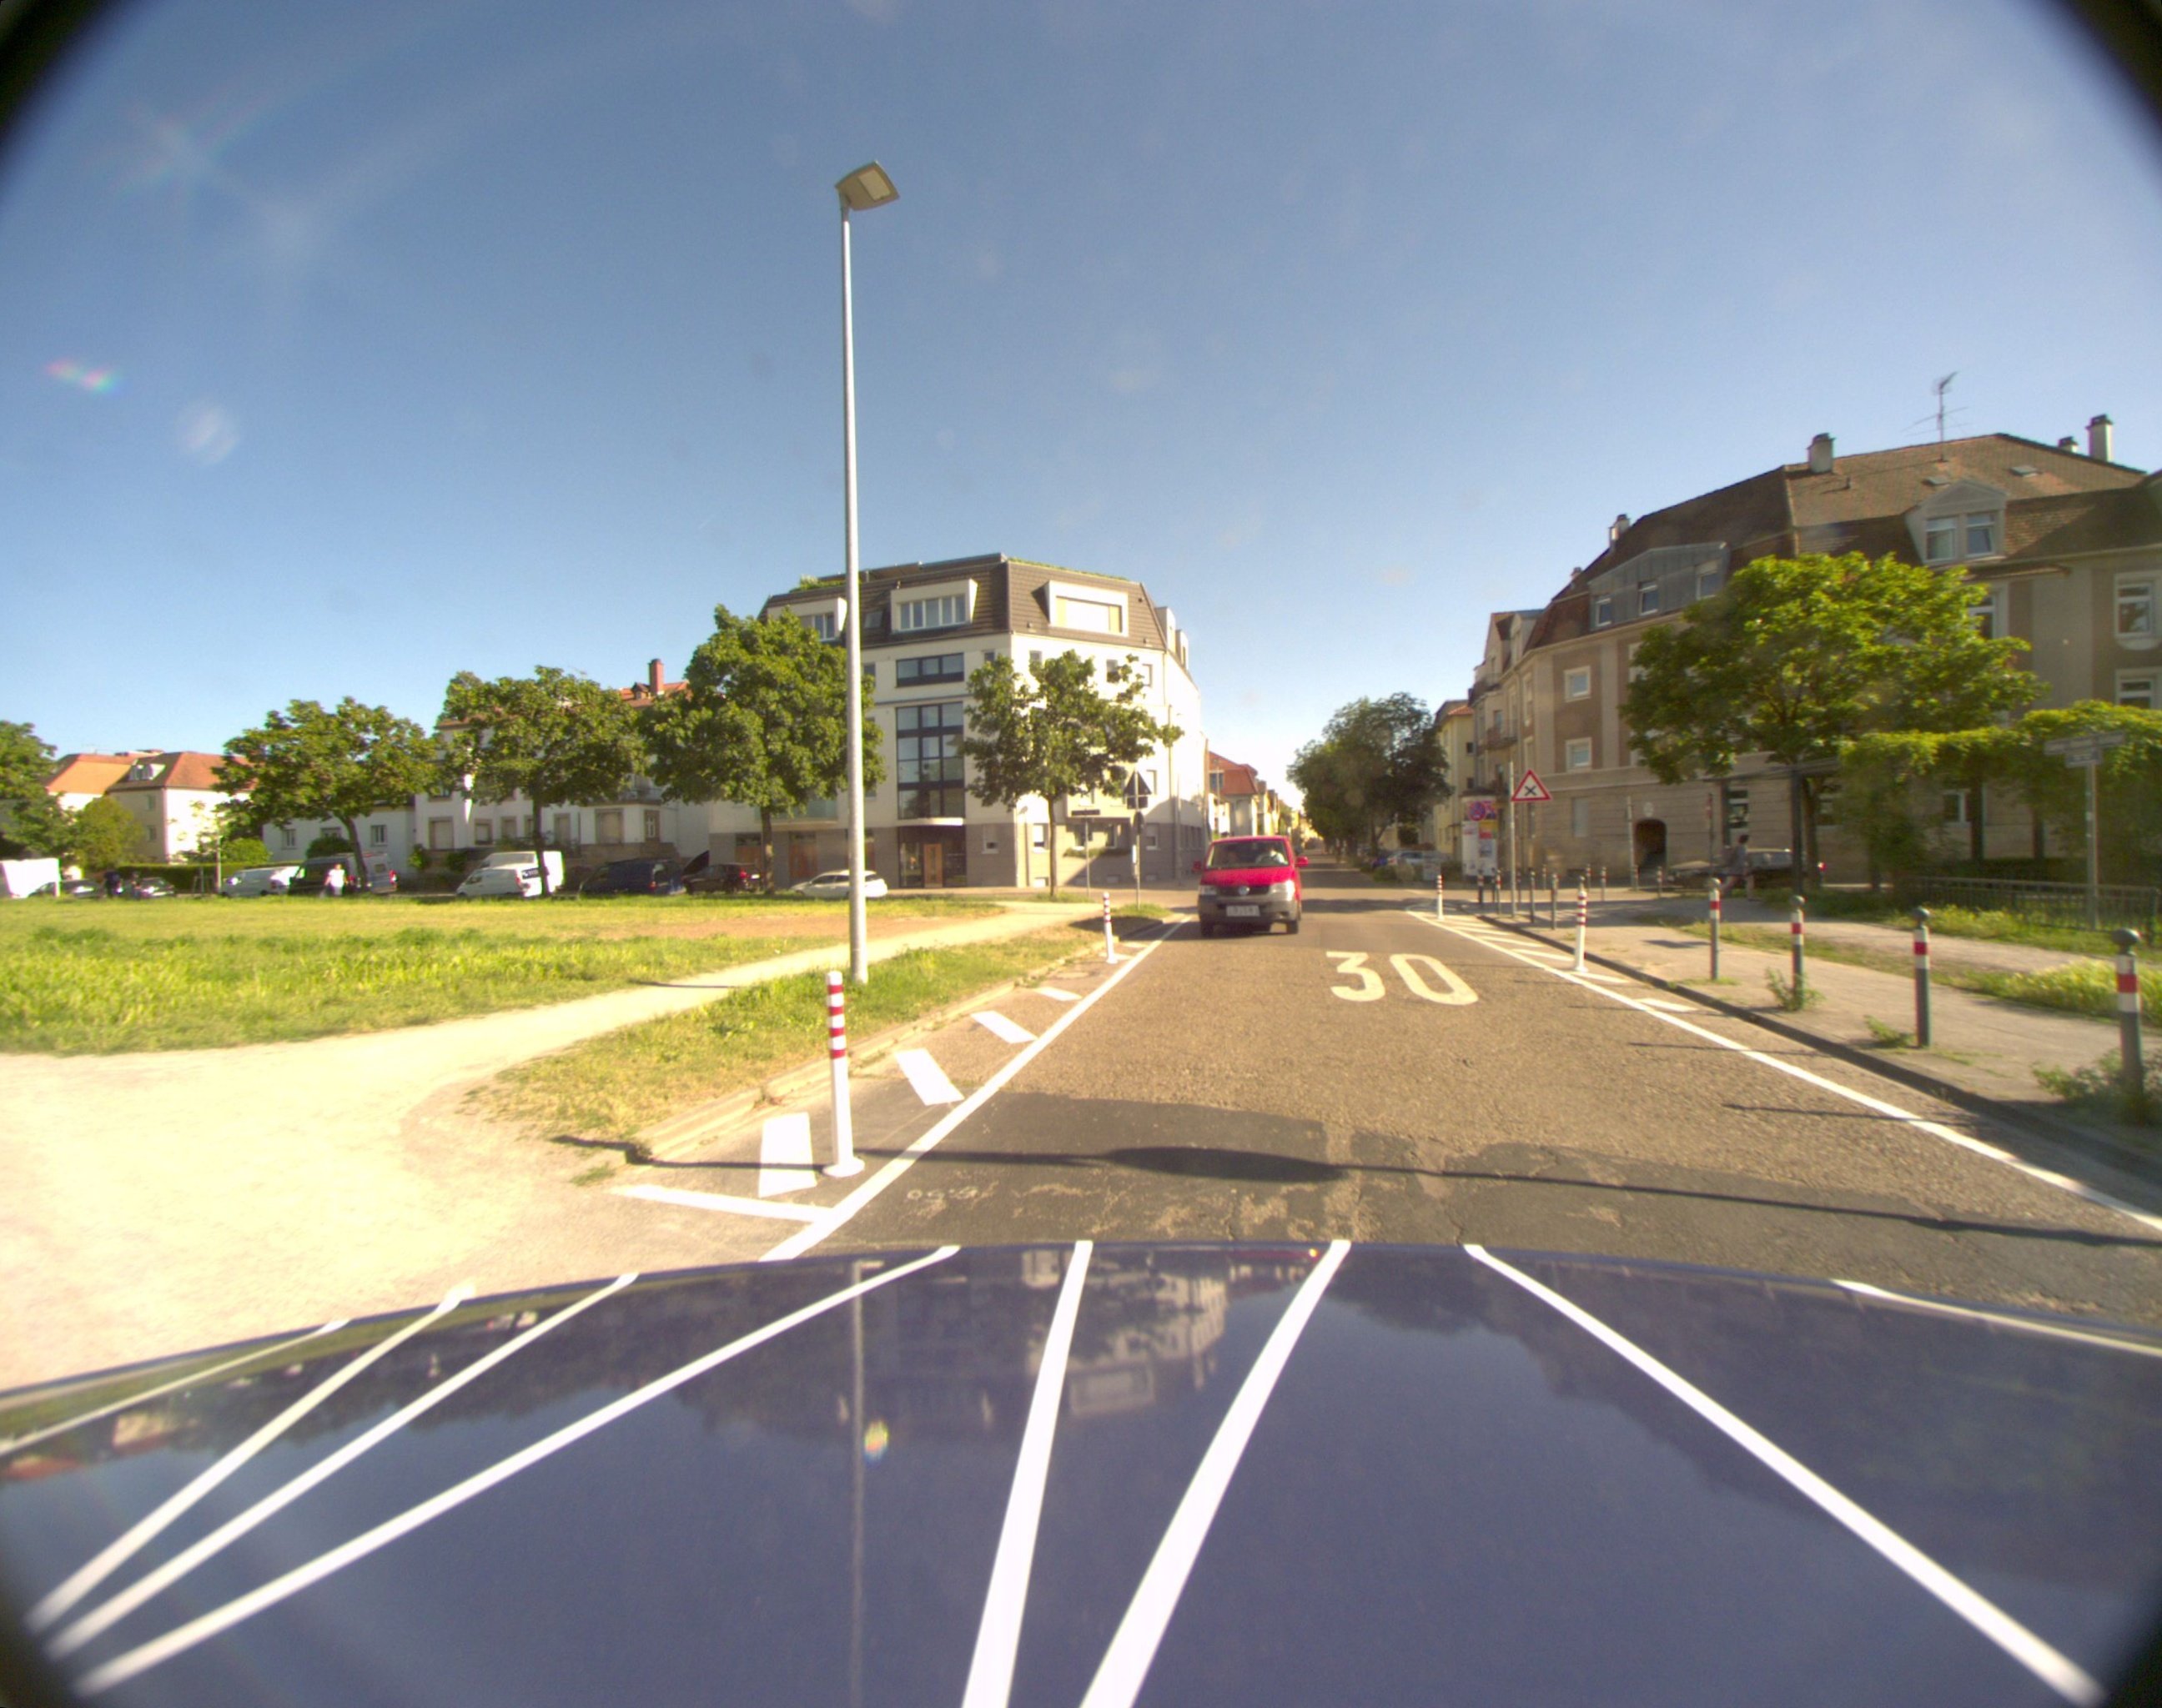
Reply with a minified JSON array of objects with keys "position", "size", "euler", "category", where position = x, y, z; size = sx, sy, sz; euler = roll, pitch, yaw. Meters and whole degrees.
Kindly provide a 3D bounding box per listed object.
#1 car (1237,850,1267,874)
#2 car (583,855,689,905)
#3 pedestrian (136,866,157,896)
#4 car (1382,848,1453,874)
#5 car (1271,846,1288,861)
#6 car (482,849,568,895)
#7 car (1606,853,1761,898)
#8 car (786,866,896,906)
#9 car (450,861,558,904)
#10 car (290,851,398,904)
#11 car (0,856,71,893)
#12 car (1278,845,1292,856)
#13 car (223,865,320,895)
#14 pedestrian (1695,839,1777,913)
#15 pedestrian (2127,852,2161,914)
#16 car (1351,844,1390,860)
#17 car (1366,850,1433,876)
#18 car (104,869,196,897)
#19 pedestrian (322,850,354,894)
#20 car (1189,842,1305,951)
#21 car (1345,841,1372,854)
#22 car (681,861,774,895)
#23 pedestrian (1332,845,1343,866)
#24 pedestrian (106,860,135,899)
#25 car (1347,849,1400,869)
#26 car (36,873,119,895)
[{"position":[12.062,0.527,53.477],"size":[1.662,1.533,4.071],"euler":[2,1,17],"category":"car"},{"position":[-20.197,1.155,34.509],"size":[3.986,2.073,1.785],"euler":[-1,5,18],"category":"car"},{"position":[-46.515,1.332,37.818],"size":[0.534,1.496,0.497],"euler":[-1,1,17],"category":"pedestrian"},{"position":[20.680,0.431,46.832],"size":[3.784,1.436,1.694],"euler":[-2,0,14],"category":"car"},{"position":[25.491,-0.058,97.483],"size":[1.882,1.860,4.407],"euler":[-1,0,17],"category":"car"},{"position":[-32.730,1.036,44.757],"size":[3.986,2.534,2.025],"euler":[-1,2,18],"category":"car"},{"position":[21.982,0.786,27.904],"size":[4.007,1.476,1.869],"euler":[-1,4,14],"category":"car"},{"position":[-9.956,1.329,31.594],"size":[3.986,1.426,1.741],"euler":[-1,4,17],"category":"car"},{"position":[-28.076,1.372,36.996],"size":[4.414,1.874,1.877],"euler":[-1,5,18],"category":"car"},{"position":[-39.251,1.231,40.482],"size":[4.279,2.571,2.194],"euler":[-1,5,18],"category":"car"},{"position":[-69.863,1.338,49.818],"size":[5.907,2.320,2.555],"euler":[-1,0,18],"category":"car"},{"position":[32.932,-0.559,122.710],"size":[1.882,1.734,4.407],"euler":[-1,0,17],"category":"car"},{"position":[-45.572,1.463,42.792],"size":[4.279,1.589,2.088],"euler":[-1,0,18],"category":"car"},{"position":[15.704,0.518,18.242],"size":[1.089,1.664,0.913],"euler":[-4,1,-1],"category":"pedestrian"},{"position":[20.718,0.544,14.404],"size":[0.844,1.143,0.600],"euler":[-1,1,18],"category":"pedestrian"},{"position":[29.649,-0.173,77.977],"size":[3.525,1.486,1.694],"euler":[-2,0,12],"category":"car"},{"position":[20.550,0.580,49.159],"size":[3.784,1.486,1.694],"euler":[-2,0,14],"category":"car"},{"position":[-56.350,1.737,46.007],"size":[4.279,1.589,2.088],"euler":[-1,0,18],"category":"car"},{"position":[-31.390,0.748,32.116],"size":[0.628,1.865,0.725],"euler":[-1,1,16],"category":"pedestrian"},{"position":[3.692,0.765,16.155],"size":[1.893,1.949,4.892],"euler":[-2,0,18],"category":"car"},{"position":[39.798,-0.883,108.975],"size":[3.524,1.693,1.694],"euler":[-2,0,15],"category":"car"},{"position":[-18.796,1.267,40.459],"size":[4.279,1.673,1.898],"euler":[-1,2,18],"category":"car"},{"position":[25.577,0.136,75.789],"size":[1.022,2.002,1.072],"euler":[-1,1,16],"category":"pedestrian"},{"position":[-47.026,1.243,37.204],"size":[0.628,1.865,0.645],"euler":[-1,1,16],"category":"pedestrian"},{"position":[24.250,0.432,63.054],"size":[3.787,1.486,1.693],"euler":[-2,0,4],"category":"car"},{"position":[-63.494,1.886,48.084],"size":[4.101,1.337,1.937],"euler":[-1,0,18],"category":"car"}]
